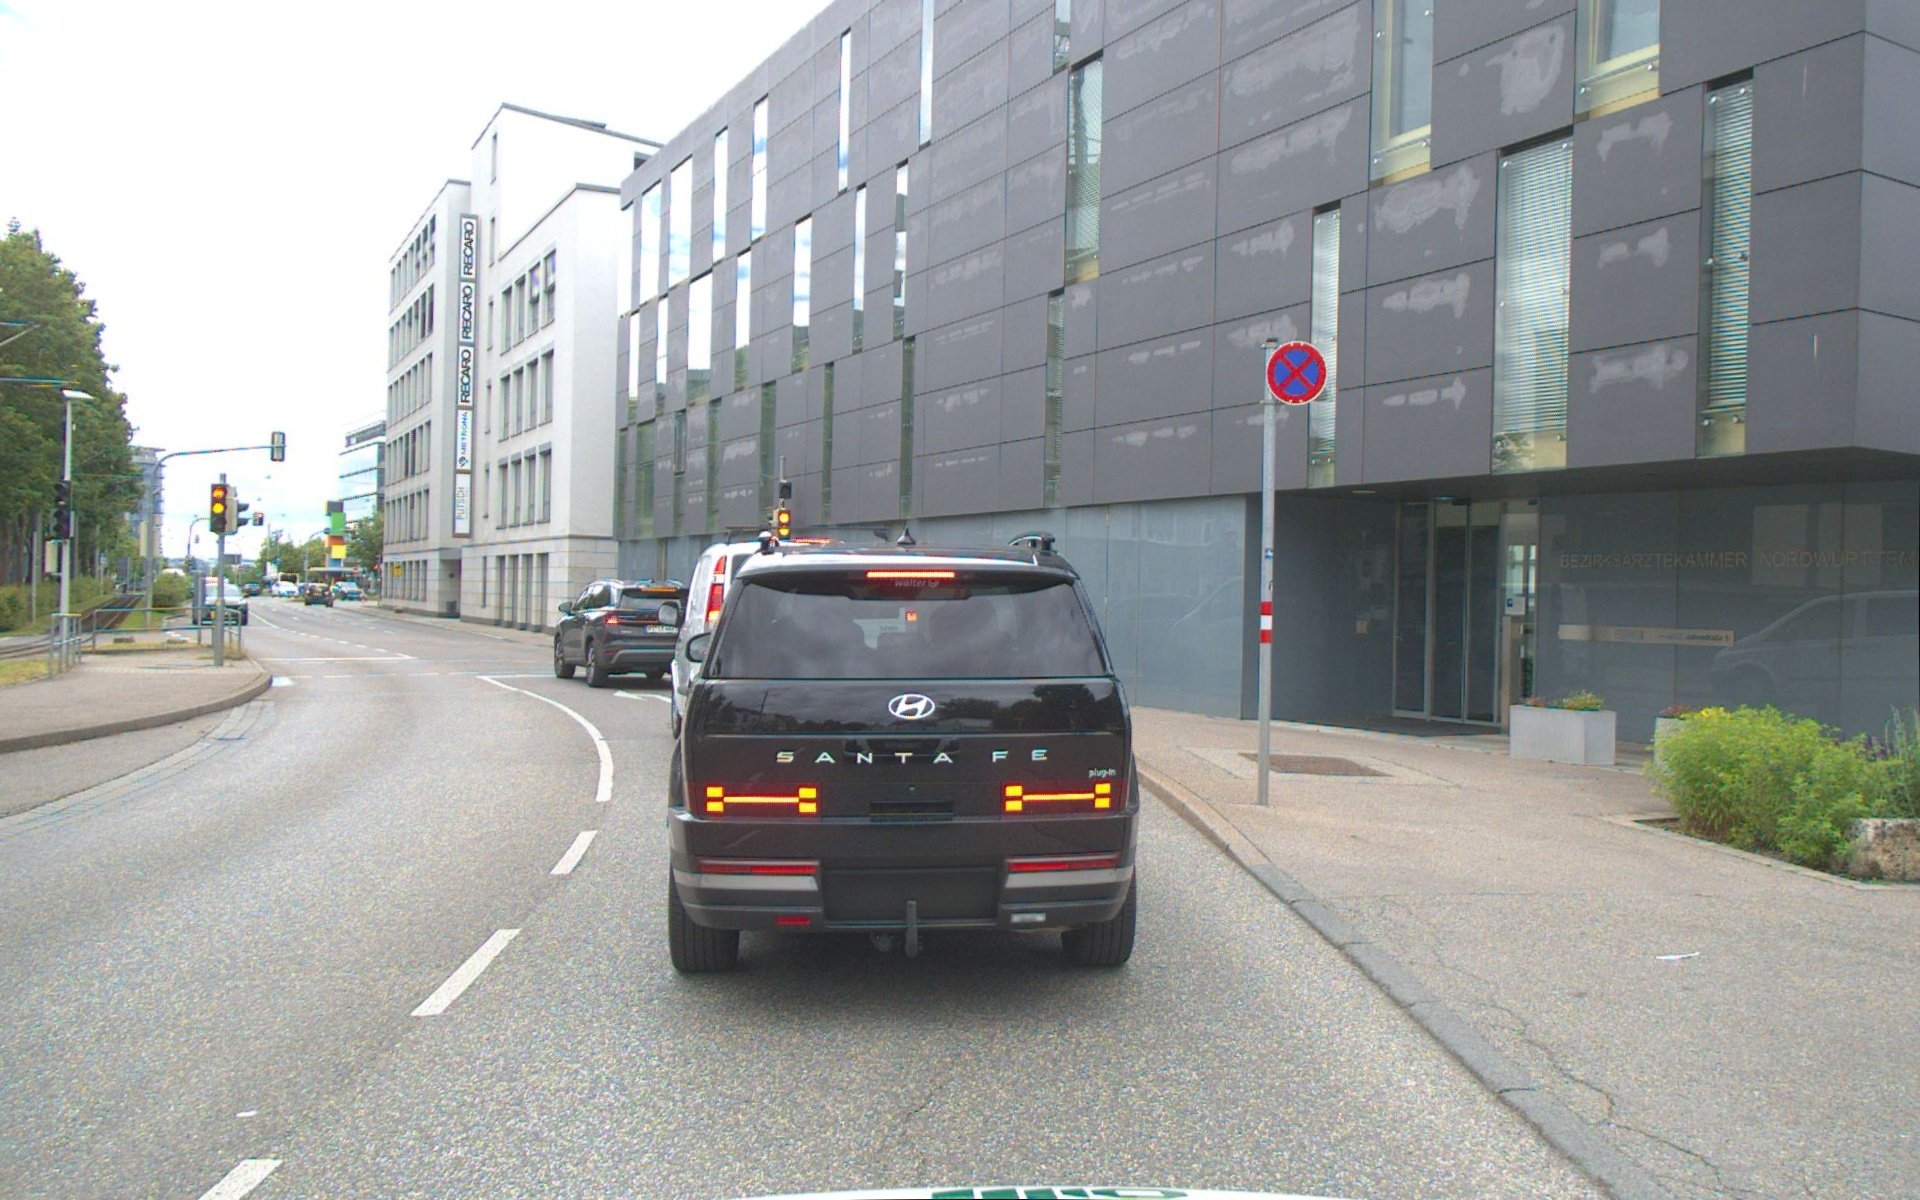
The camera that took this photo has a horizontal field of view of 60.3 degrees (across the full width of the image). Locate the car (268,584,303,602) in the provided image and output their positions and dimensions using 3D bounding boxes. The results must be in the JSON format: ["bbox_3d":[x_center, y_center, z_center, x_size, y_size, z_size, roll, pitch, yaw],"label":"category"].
[{"bbox_3d":[-63.478,-0.679,155.642,1.980,1.606,3.946,1,0,-38],"label":"car"}]

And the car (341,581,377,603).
[{"bbox_3d":[-54.164,-0.735,149.001,1.979,1.885,3.946,1,0,-38],"label":"car"}]

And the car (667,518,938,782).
[{"bbox_3d":[-1.600,0.387,15.105,1.898,2.029,4.520,1,0,-13],"label":"car"}]

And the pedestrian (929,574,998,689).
[{"bbox_3d":[0.048,0.479,25.483,0.703,1.724,0.858,2,-1,-28],"label":"pedestrian"}]

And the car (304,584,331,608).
[{"bbox_3d":[-46.202,-0.294,118.919,1.735,1.637,4.159,1,0,-23],"label":"car"}]

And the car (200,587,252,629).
[{"bbox_3d":[-27.996,0.286,63.094,1.745,1.504,3.969,-1,0,-25],"label":"car"}]

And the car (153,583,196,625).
[{"bbox_3d":[-36.420,0.176,76.619,1.661,1.840,4.313,-1,0,-27],"label":"car"}]

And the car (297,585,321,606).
[{"bbox_3d":[-53.300,-0.358,135.372,1.735,1.637,4.159,1,0,-23],"label":"car"}]

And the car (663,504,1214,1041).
[{"bbox_3d":[-0.309,0.565,7.780,1.872,1.780,4.390,0,0,-7],"label":"car"}]

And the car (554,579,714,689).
[{"bbox_3d":[-5.353,0.497,26.786,1.735,1.637,4.159,1,0,-23],"label":"car"}]
